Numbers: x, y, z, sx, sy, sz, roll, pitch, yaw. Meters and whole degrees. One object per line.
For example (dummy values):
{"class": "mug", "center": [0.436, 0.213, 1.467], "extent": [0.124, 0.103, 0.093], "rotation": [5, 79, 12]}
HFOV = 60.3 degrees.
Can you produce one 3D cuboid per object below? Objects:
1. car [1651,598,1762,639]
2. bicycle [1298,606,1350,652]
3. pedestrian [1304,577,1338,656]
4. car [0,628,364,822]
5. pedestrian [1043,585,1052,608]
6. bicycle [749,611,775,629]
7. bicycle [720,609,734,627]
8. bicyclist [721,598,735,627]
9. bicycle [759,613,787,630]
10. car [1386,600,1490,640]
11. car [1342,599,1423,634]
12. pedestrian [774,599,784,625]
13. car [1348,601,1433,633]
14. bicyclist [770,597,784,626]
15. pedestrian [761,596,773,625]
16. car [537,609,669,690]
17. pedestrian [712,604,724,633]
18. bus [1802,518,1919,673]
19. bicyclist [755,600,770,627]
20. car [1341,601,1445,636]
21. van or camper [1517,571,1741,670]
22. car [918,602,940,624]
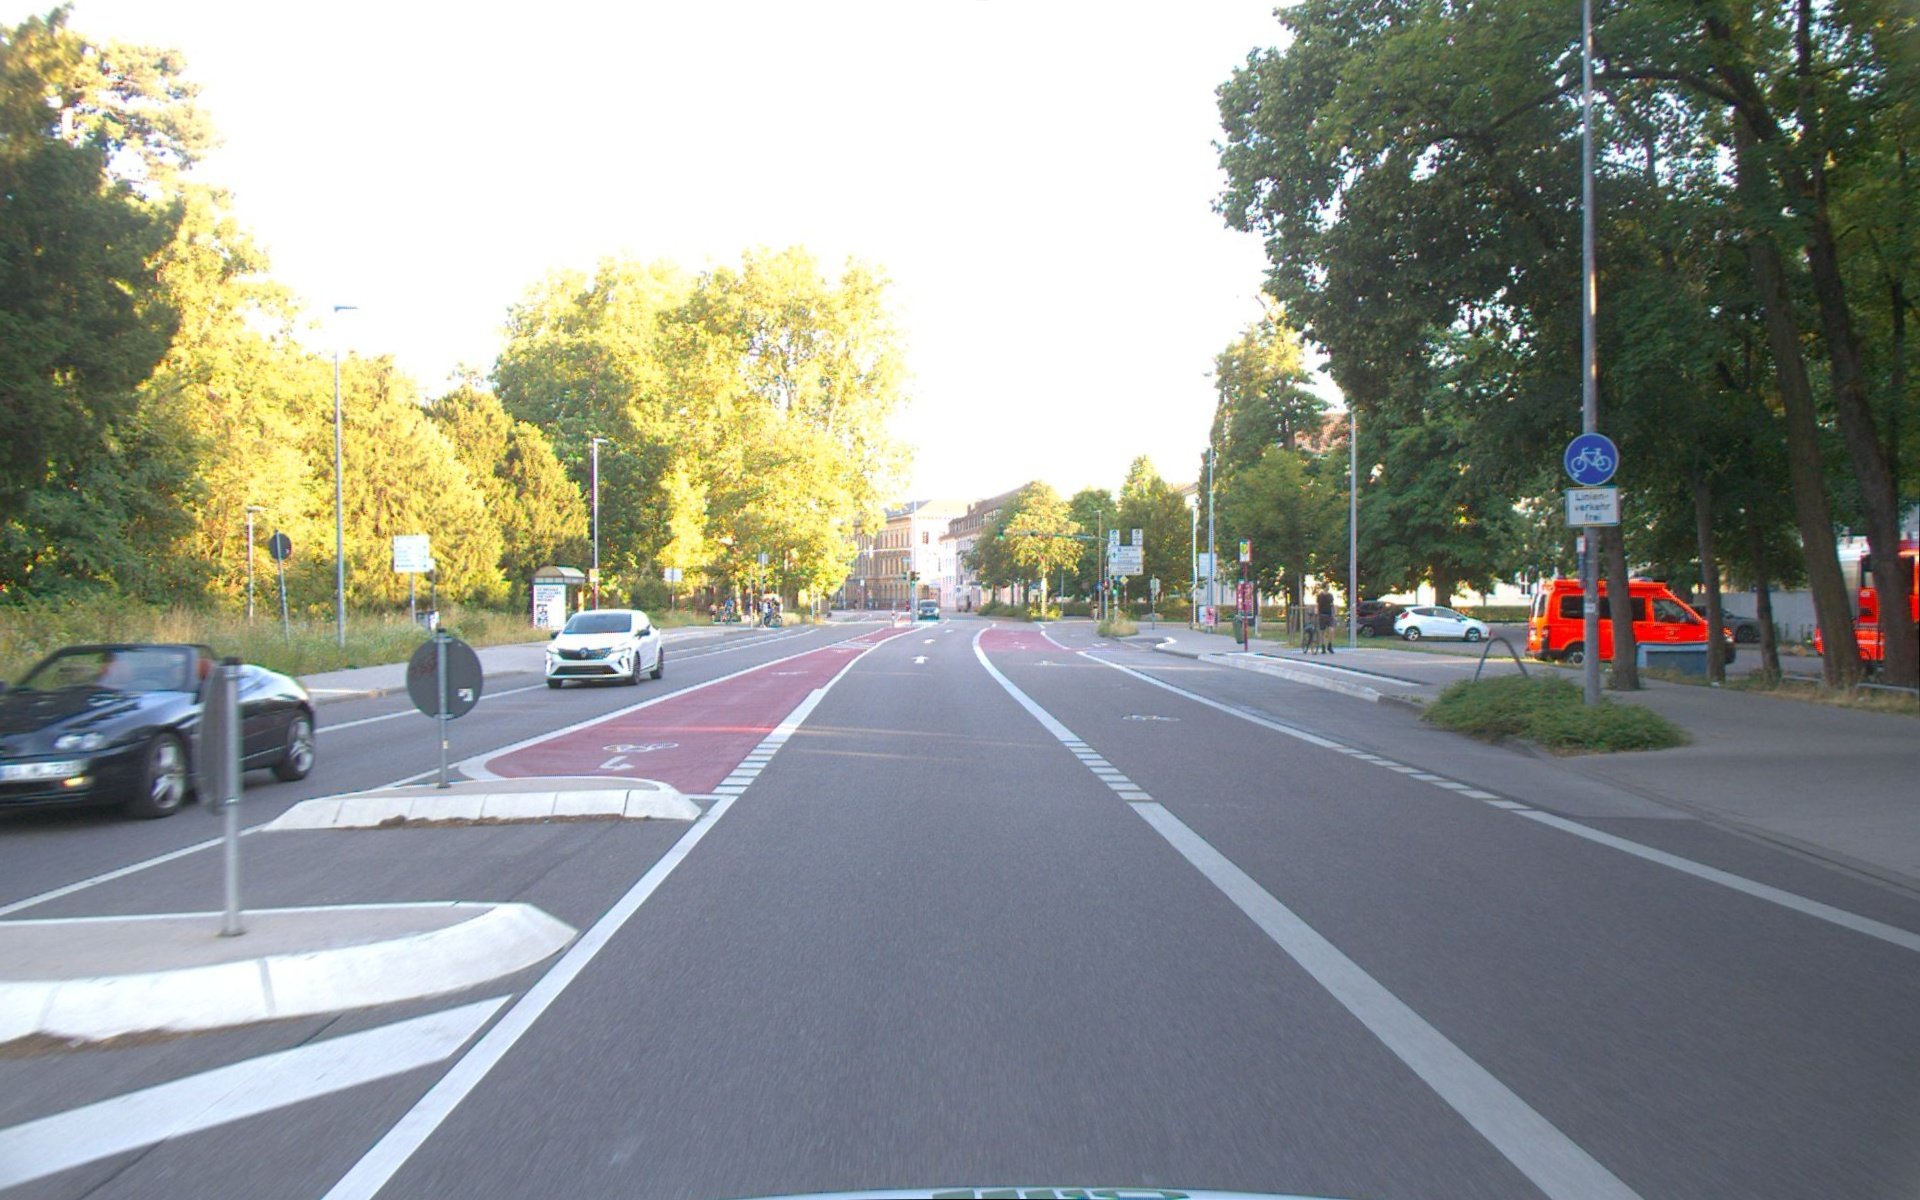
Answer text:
{"class": "car", "center": [31.478, 0.771, 69.864], "extent": [3.902, 1.645, 1.914], "rotation": [1, -1, 11]}
{"class": "bicycle", "center": [9.588, 0.757, 43.634], "extent": [0.814, 1.116, 1.968], "rotation": [-6, 0, -1]}
{"class": "pedestrian", "center": [9.478, 0.420, 43.388], "extent": [0.708, 2.049, 0.695], "rotation": [1, -1, -1]}
{"class": "car", "center": [-6.619, 0.946, 14.007], "extent": [1.714, 1.329, 3.999], "rotation": [-1, 0, -1]}
{"class": "pedestrian", "center": [8.075, -0.325, 152.892], "extent": [0.852, 2.049, 0.722], "rotation": [1, -1, 2]}
{"class": "bicycle", "center": [-12.113, 1.217, 101.379], "extent": [1.535, 1.131, 0.631], "rotation": [0, 0, 33]}
{"class": "bicycle", "center": [-14.971, 1.146, 106.383], "extent": [0.755, 1.120, 2.120], "rotation": [0, 0, -4]}
{"class": "bicyclist", "center": [-14.941, 0.794, 106.423], "extent": [0.719, 1.856, 0.712], "rotation": [-1, 0, 3]}
{"class": "bicycle", "center": [-11.639, 1.329, 102.837], "extent": [1.735, 1.048, 0.578], "rotation": [0, 0, 33]}
{"class": "car", "center": [20.022, 0.835, 69.359], "extent": [3.903, 1.564, 1.913], "rotation": [1, 0, 5]}
{"class": "car", "center": [21.707, 0.849, 85.023], "extent": [3.814, 1.724, 1.838], "rotation": [1, 0, 6]}
{"class": "pedestrian", "center": [-14.384, 0.951, 131.305], "extent": [0.626, 2.049, 0.701], "rotation": [0, 0, 4]}
{"class": "car", "center": [21.353, 0.841, 82.071], "extent": [3.902, 1.588, 1.787], "rotation": [0, 0, 8]}
{"class": "bicyclist", "center": [-11.378, 0.731, 102.662], "extent": [0.626, 1.811, 0.574], "rotation": [0, -1, 32]}
{"class": "pedestrian", "center": [-11.539, 0.600, 98.940], "extent": [0.594, 1.725, 0.498], "rotation": [0, -1, 3]}
{"class": "car", "center": [-6.949, 0.927, 32.599], "extent": [1.809, 1.439, 4.178], "rotation": [-1, 0, -2]}
{"class": "pedestrian", "center": [-17.229, 1.317, 117.781], "extent": [0.644, 2.049, 0.598], "rotation": [1, -1, -37]}
{"class": "bus", "center": [22.066, -0.048, 37.533], "extent": [2.924, 3.252, 7.971], "rotation": [1, 0, 9]}
{"class": "bicyclist", "center": [-12.103, 0.828, 101.368], "extent": [0.626, 1.678, 0.629], "rotation": [0, -1, 32]}
{"class": "car", "center": [20.597, 0.888, 78.870], "extent": [4.473, 1.474, 1.901], "rotation": [-2, -2, 4]}
{"class": "van or camper", "center": [16.334, 0.479, 40.635], "extent": [4.710, 2.284, 2.297], "rotation": [1, 0, 10]}
{"class": "car", "center": [-2.652, 1.084, 140.609], "extent": [1.812, 1.750, 4.294], "rotation": [-2, 0, -1]}
